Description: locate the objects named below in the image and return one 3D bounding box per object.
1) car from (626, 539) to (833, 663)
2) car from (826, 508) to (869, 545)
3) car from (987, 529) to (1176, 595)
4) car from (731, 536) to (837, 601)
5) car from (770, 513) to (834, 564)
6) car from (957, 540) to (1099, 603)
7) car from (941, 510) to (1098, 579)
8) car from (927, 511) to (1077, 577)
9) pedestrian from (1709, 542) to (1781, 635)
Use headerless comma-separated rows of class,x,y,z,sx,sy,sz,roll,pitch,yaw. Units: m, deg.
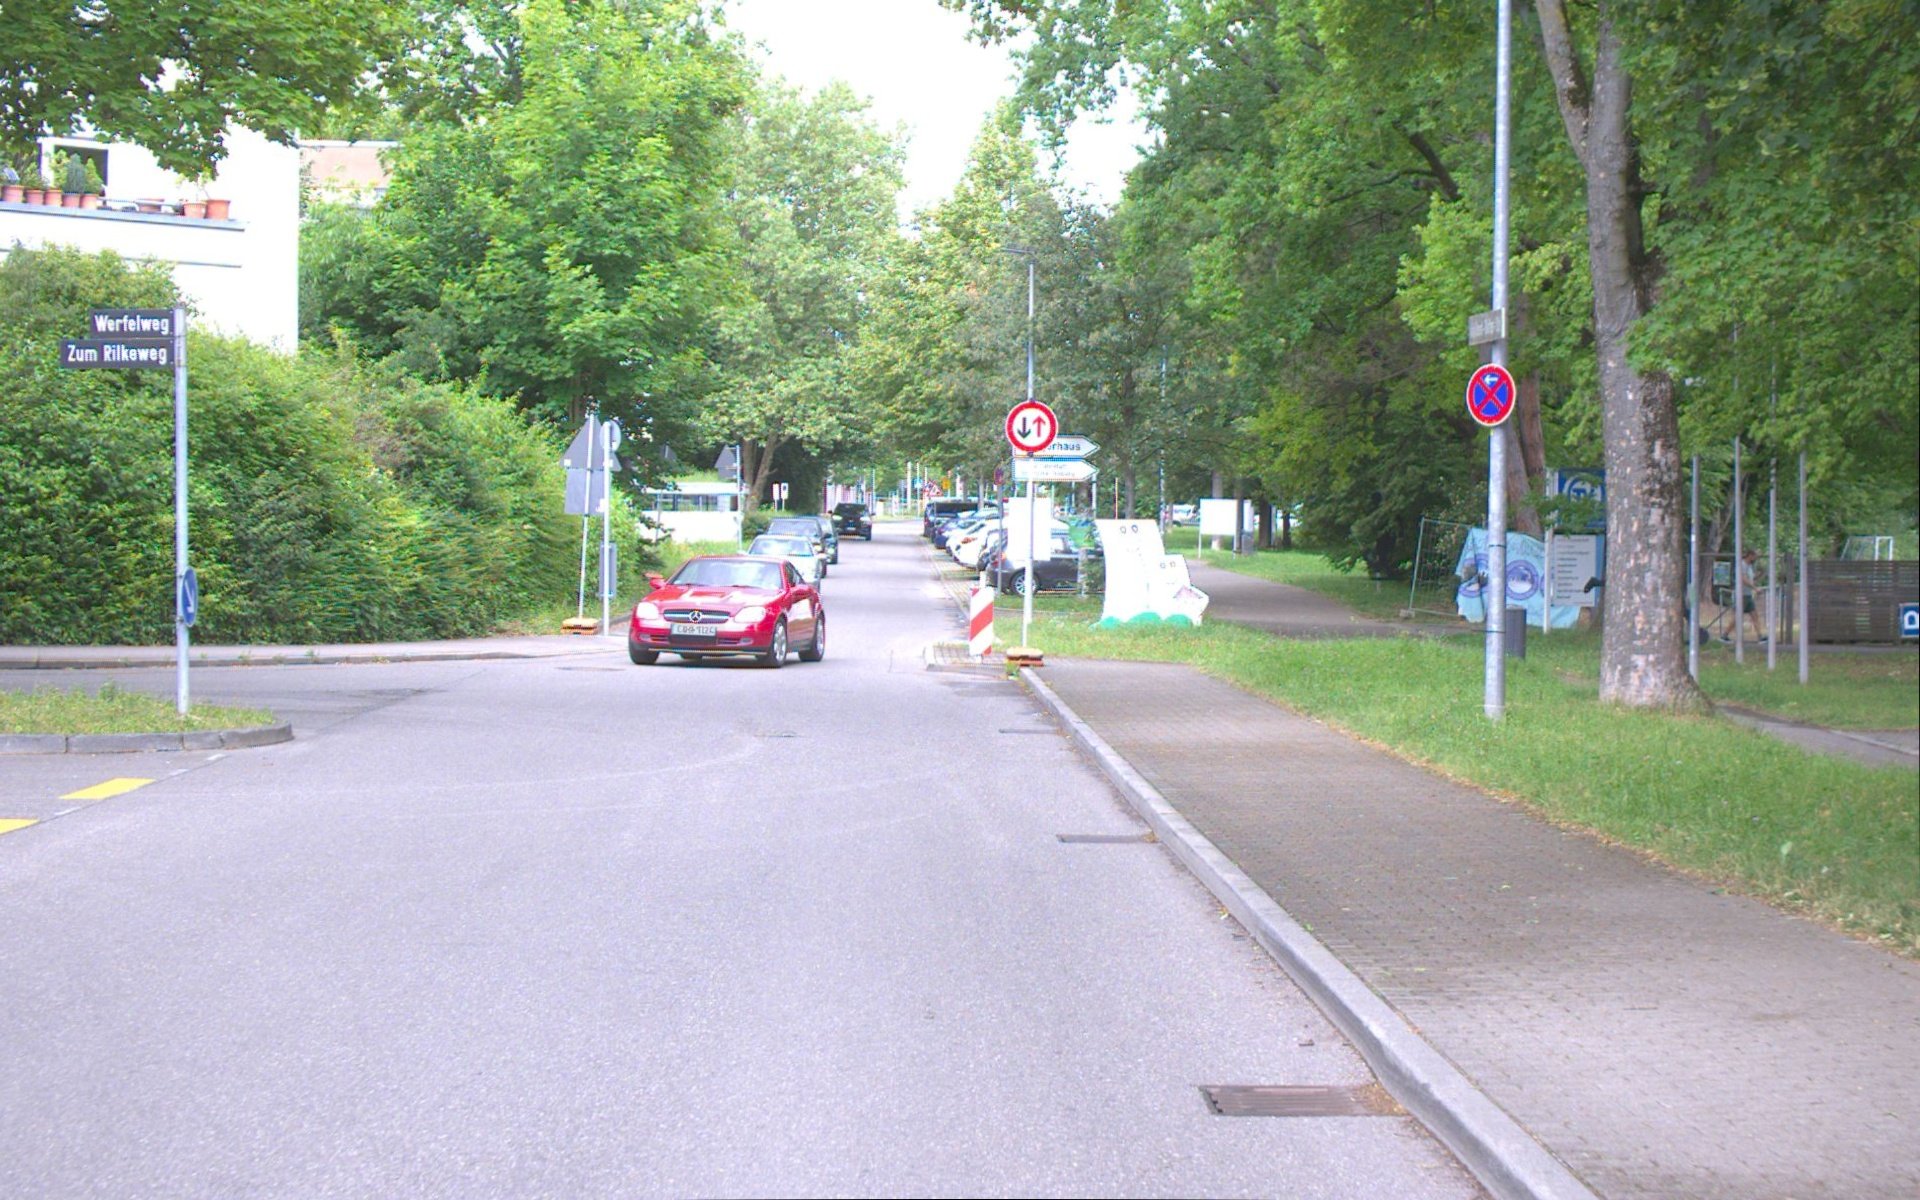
car,-2.660,-0.029,40.536,1.751,1.331,4.064,2,1,6
car,-5.398,-3.533,164.832,1.968,1.741,4.339,1,1,-2
car,2.677,-0.833,76.467,4.062,1.429,2.000,0,0,-2
car,-3.791,-0.698,74.553,1.781,1.302,4.296,2,1,4
car,-5.226,-2.047,113.285,1.803,1.586,4.297,1,1,-6
car,2.035,-0.867,103.356,4.062,1.681,1.823,-3,2,-4
car,1.614,-1.523,94.118,4.062,1.681,1.823,-3,2,-4
car,1.177,-1.598,97.936,4.062,1.681,1.823,-3,2,-4
pedestrian,14.331,-0.202,62.766,1.149,1.669,0.792,0,0,24
